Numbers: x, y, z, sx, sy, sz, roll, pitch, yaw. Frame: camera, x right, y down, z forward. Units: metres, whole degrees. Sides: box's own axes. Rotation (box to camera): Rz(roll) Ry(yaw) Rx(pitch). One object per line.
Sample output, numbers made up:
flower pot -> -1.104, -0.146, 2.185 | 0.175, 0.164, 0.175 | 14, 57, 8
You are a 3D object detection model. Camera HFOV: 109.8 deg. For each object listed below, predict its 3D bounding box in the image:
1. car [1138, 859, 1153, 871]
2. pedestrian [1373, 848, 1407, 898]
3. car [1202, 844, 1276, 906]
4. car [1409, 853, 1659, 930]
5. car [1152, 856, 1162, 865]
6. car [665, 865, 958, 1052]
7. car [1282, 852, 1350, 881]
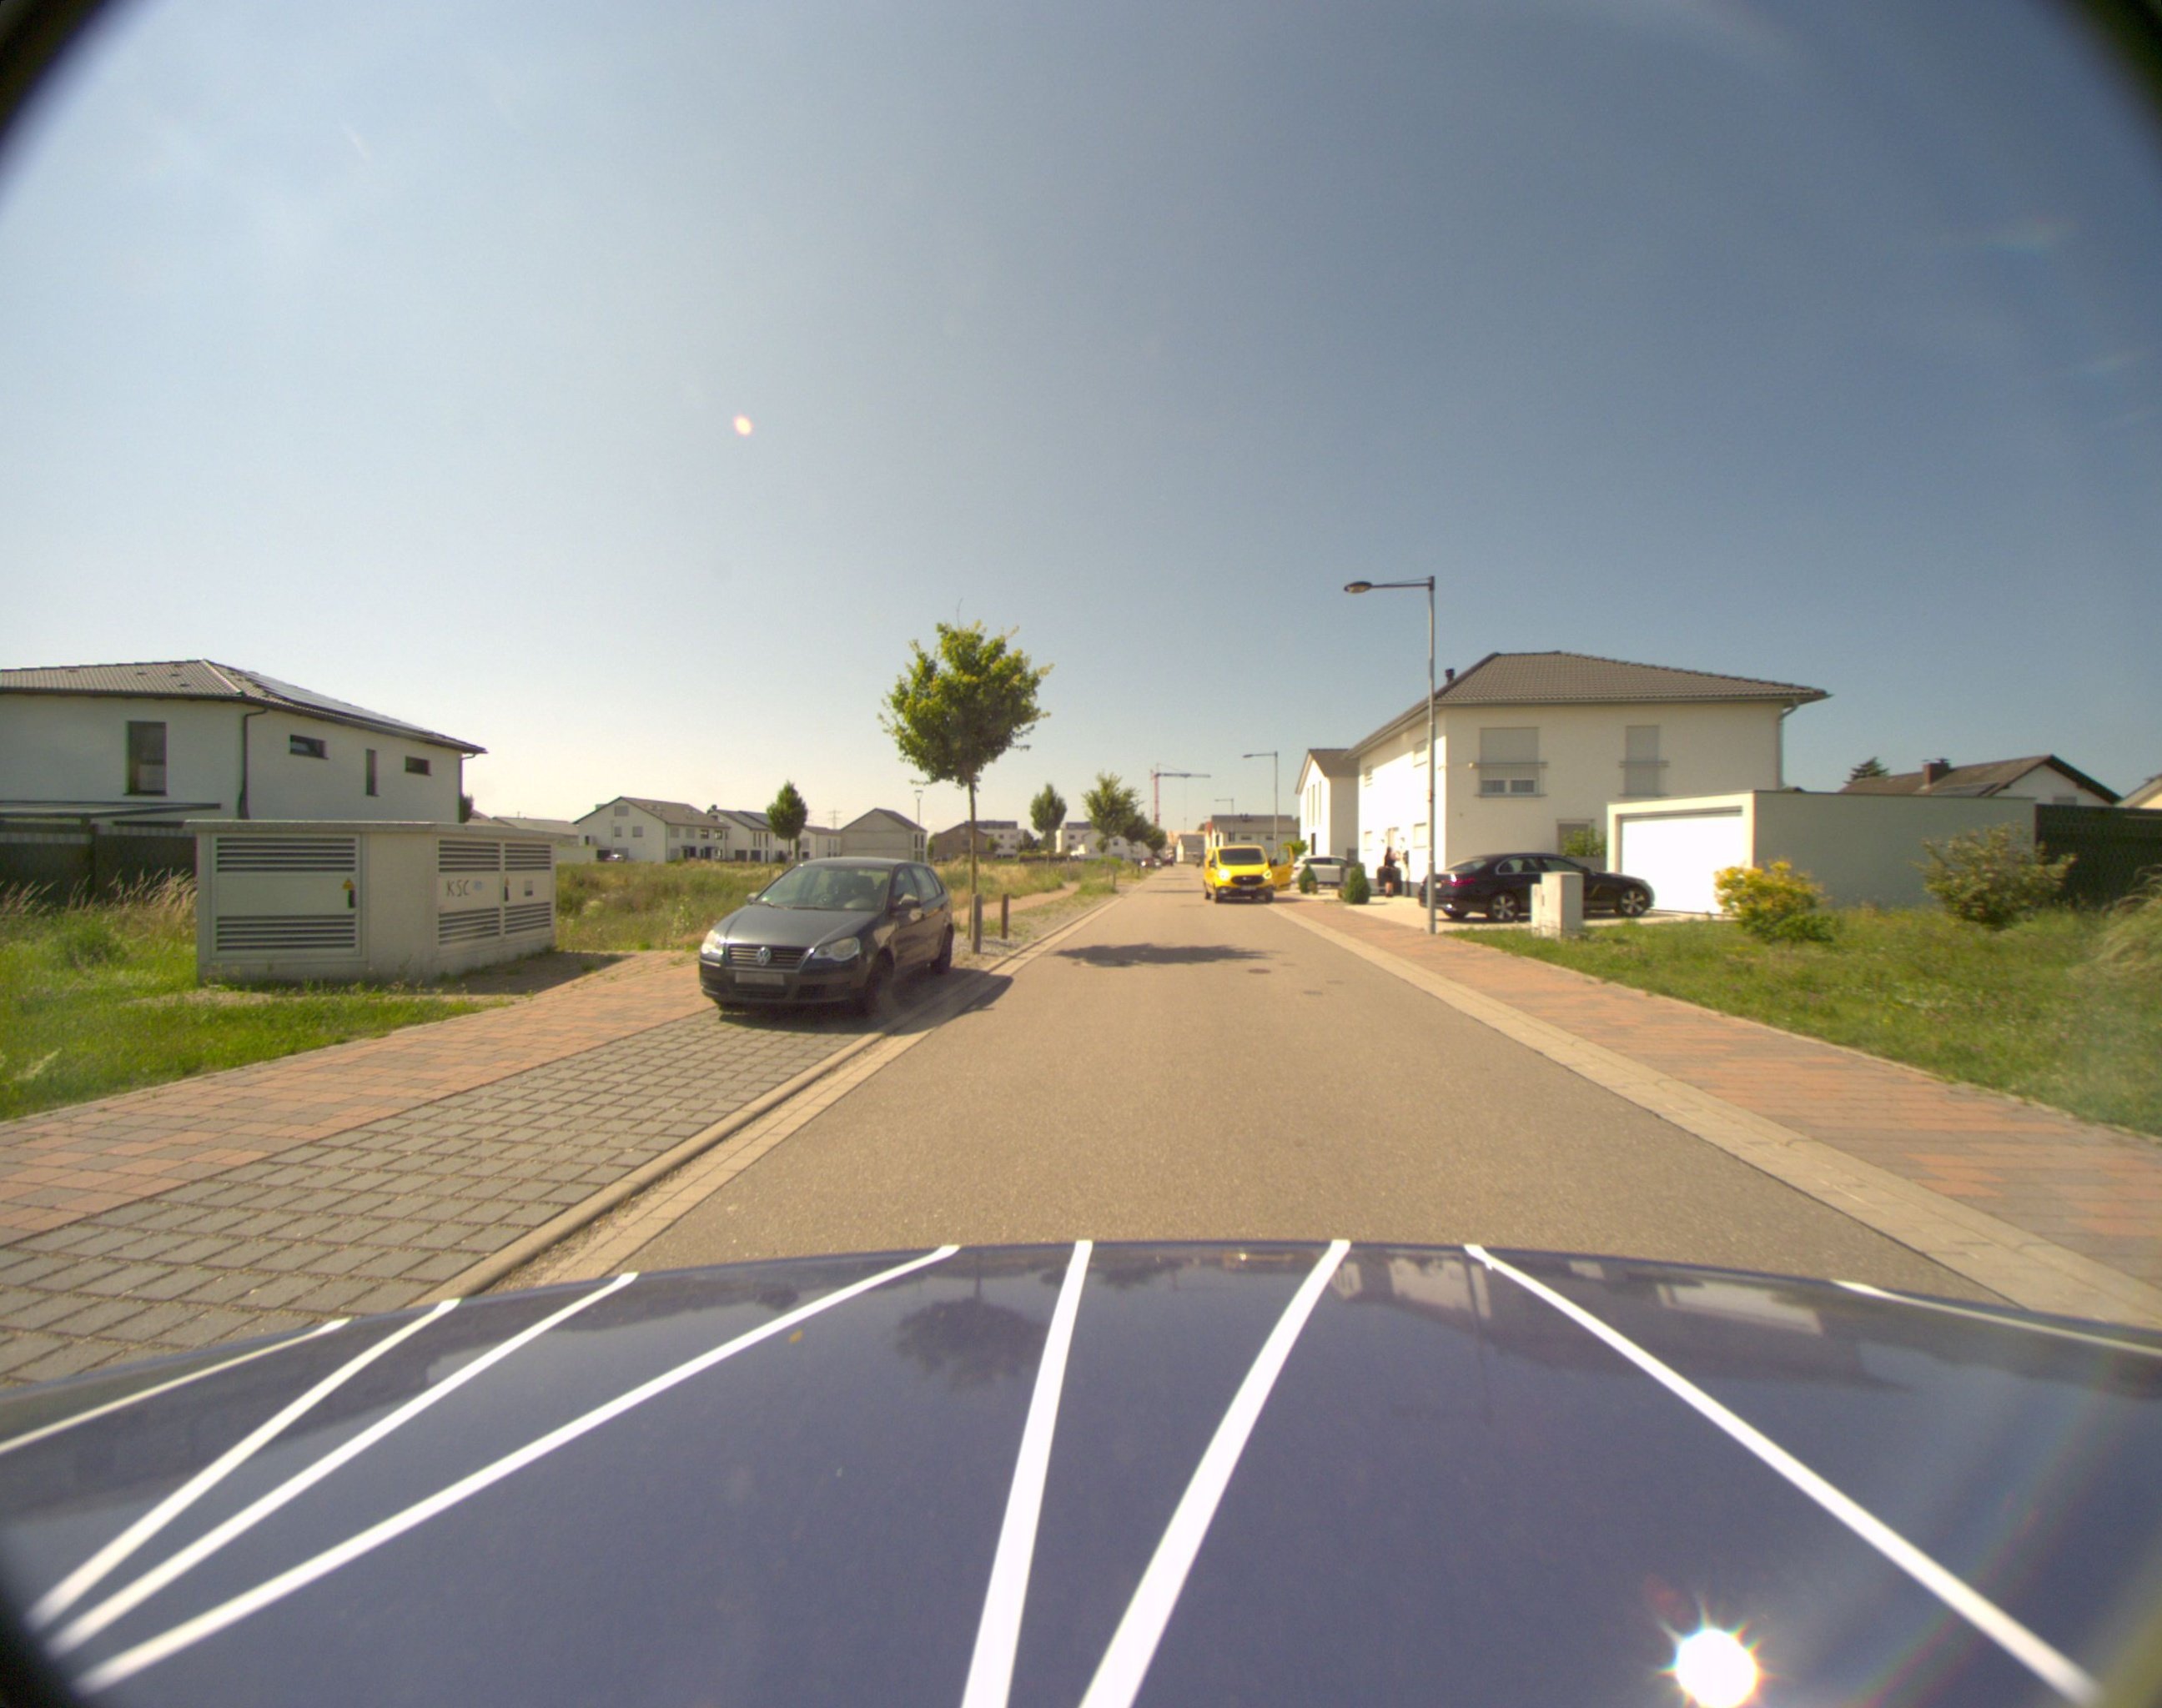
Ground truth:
car -> 8.472, 1.379, 99.149 | 1.768, 1.483, 4.002 | 0, 0, 7
pedestrian -> 10.477, 0.644, 25.787 | 0.931, 1.675, 0.538 | -2, 0, 17
car -> 5.554, 0.689, 27.303 | 1.888, 2.002, 4.842 | -1, 0, 3
car -> 9.562, 0.757, 16.215 | 4.406, 1.444, 1.748 | -1, 0, -6
car -> 11.924, 0.972, 118.608 | 1.492, 1.389, 3.274 | 0, 0, 7
car -> -2.578, 0.904, 8.231 | 1.602, 1.466, 3.676 | 2, 0, 4
car -> 15.394, 0.829, 49.914 | 3.994, 1.841, 2.001 | 0, 0, 8
